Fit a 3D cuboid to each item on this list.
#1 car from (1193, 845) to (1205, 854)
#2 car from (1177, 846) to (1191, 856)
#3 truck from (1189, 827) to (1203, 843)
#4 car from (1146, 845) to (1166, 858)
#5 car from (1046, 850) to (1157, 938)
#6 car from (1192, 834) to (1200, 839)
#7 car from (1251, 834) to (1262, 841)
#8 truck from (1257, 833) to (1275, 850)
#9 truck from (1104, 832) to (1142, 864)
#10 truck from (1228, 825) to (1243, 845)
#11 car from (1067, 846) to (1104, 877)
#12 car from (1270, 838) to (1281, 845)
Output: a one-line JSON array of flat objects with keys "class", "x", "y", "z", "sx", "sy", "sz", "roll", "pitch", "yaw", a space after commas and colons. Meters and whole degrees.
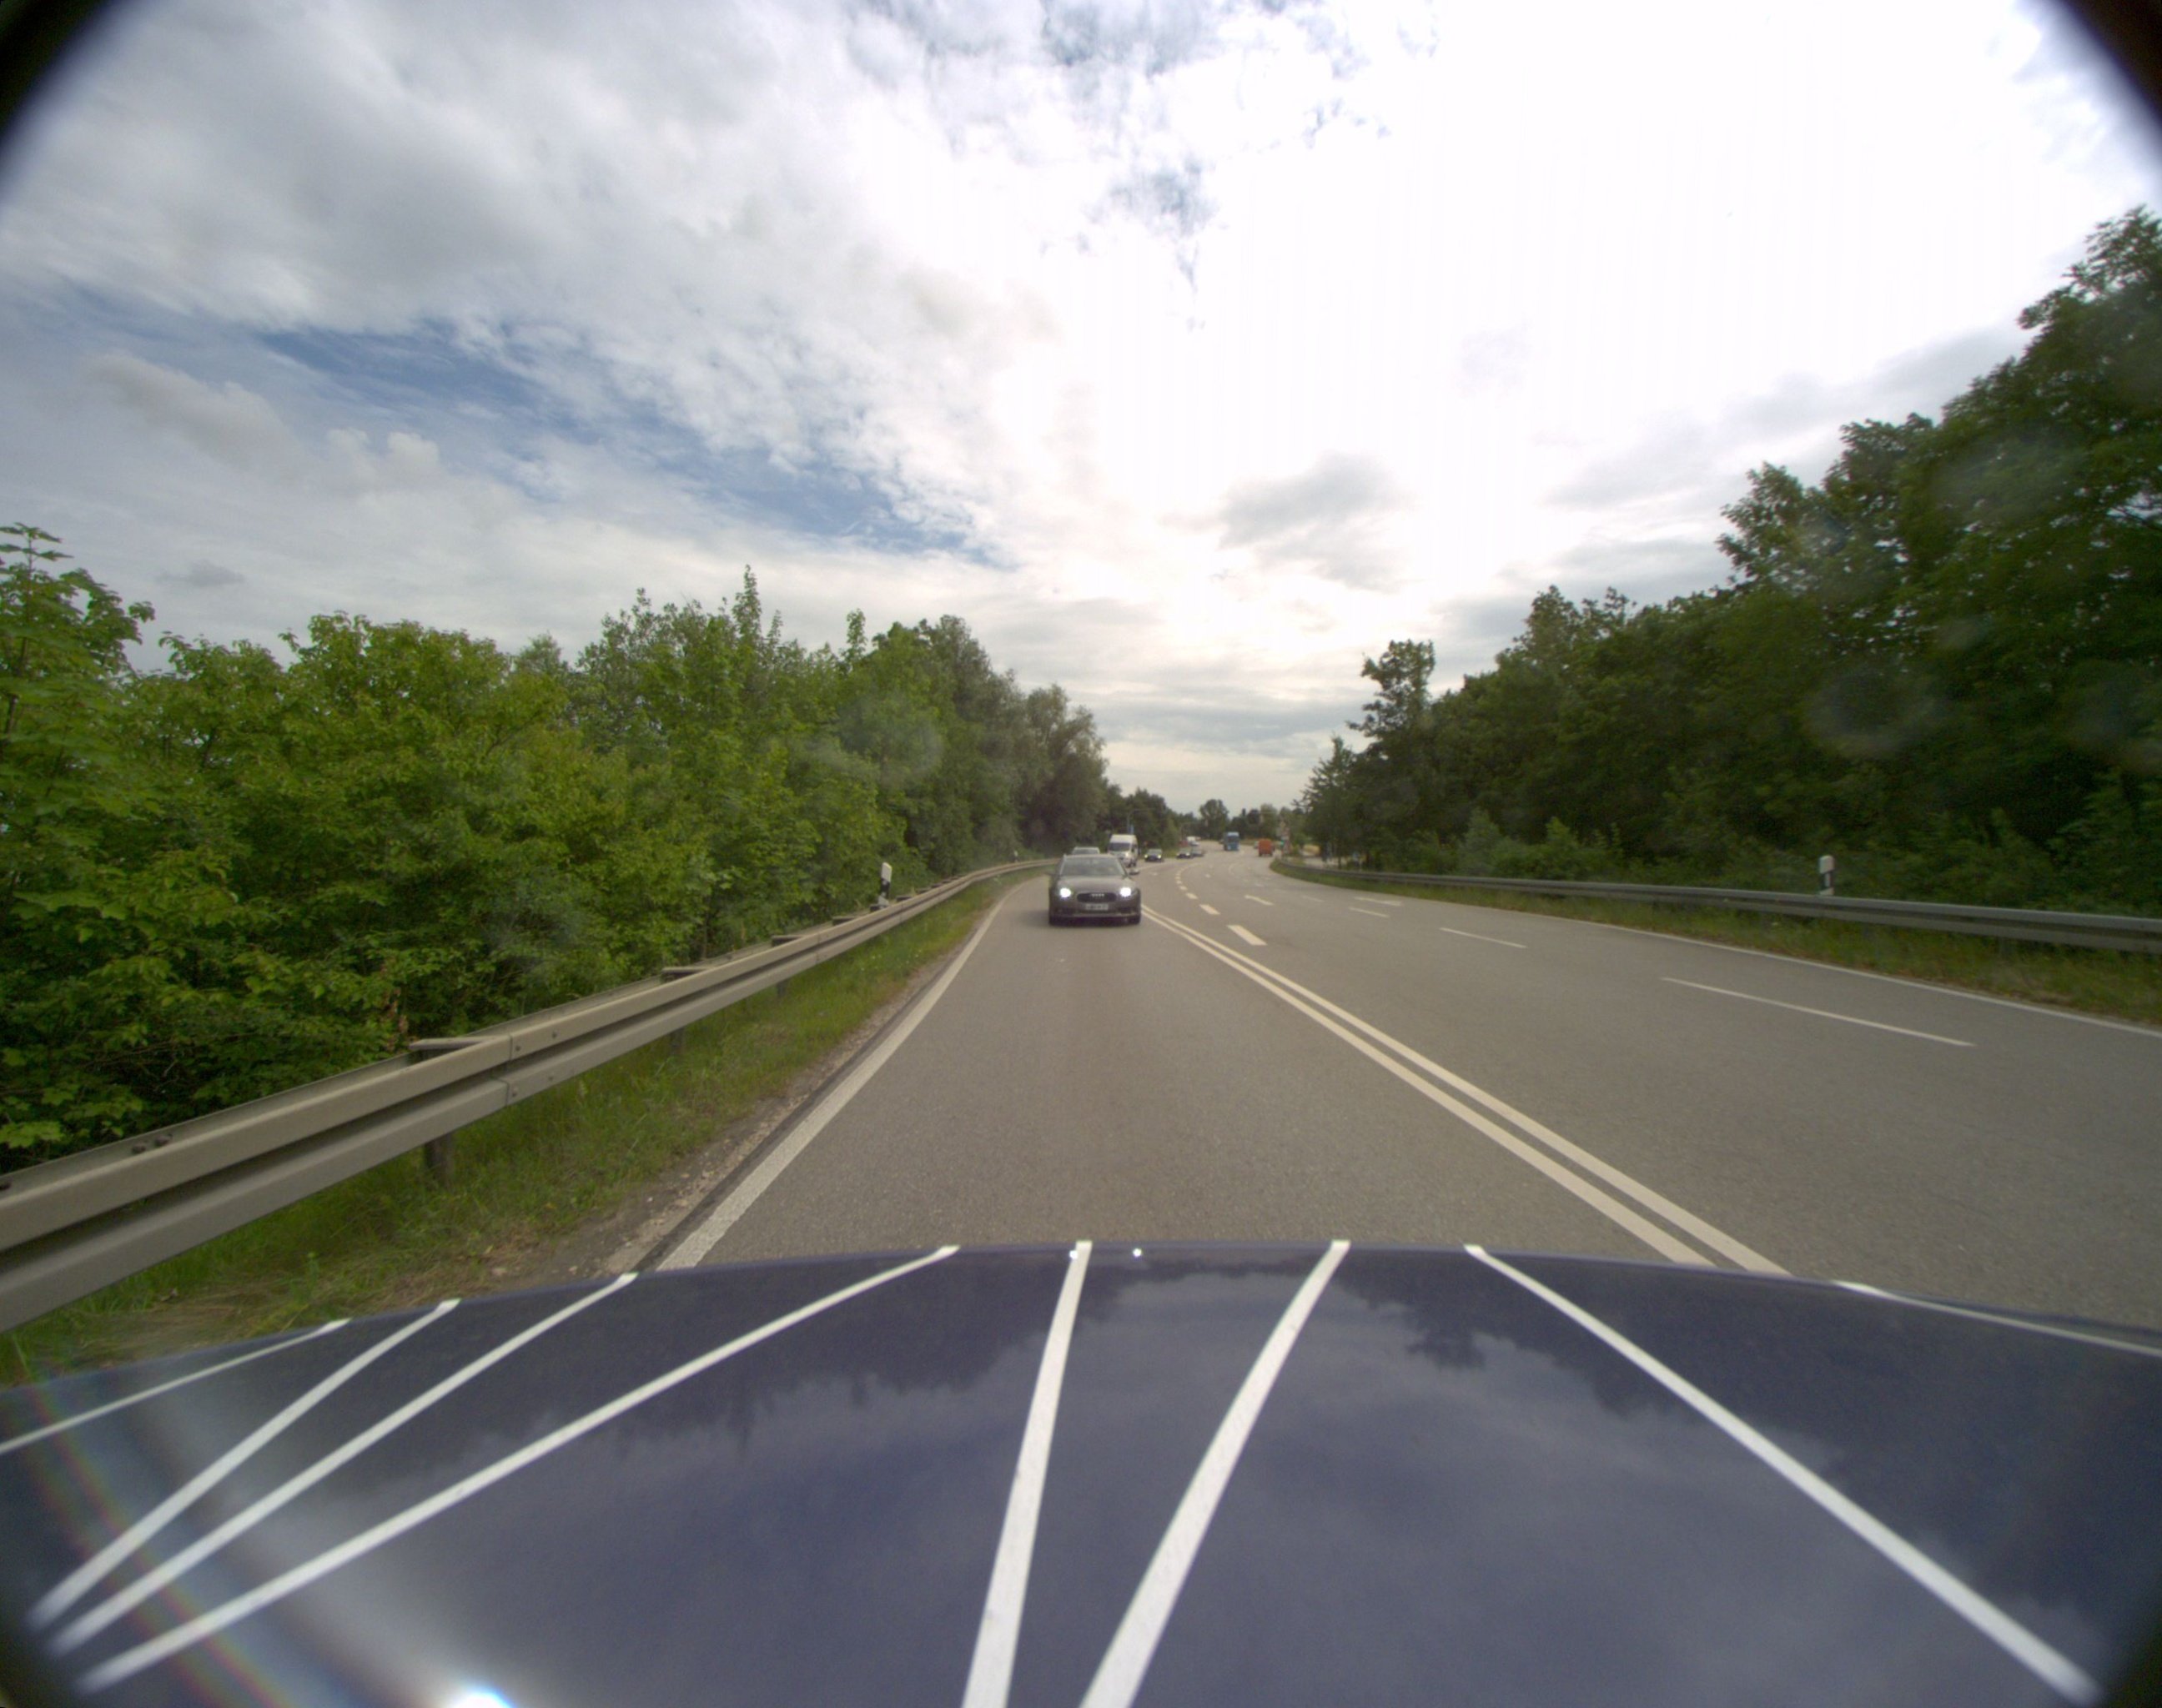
[{"class": "car", "x": 18.838, "y": -0.766, "z": 121.440, "sx": 1.743, "sy": 1.317, "sz": 4.002, "roll": 3, "pitch": 1, "yaw": 9}, {"class": "car", "x": 14.718, "y": -0.444, "z": 108.386, "sx": 1.742, "sy": 1.317, "sz": 4.003, "roll": 3, "pitch": 1, "yaw": 12}, {"class": "truck", "x": 33.006, "y": -5.441, "z": 218.253, "sx": 3.026, "sy": 4.326, "sz": 9.571, "roll": 1, "pitch": 2, "yaw": 4}, {"class": "car", "x": 8.289, "y": -0.245, "z": 83.733, "sx": 1.742, "sy": 1.317, "sz": 4.003, "roll": 3, "pitch": 1, "yaw": 10}, {"class": "car", "x": 0.334, "y": 0.712, "z": 16.118, "sx": 1.965, "sy": 1.447, "sz": 4.795, "roll": -2, "pitch": 1, "yaw": -1}, {"class": "car", "x": 39.012, "y": -6.015, "z": 258.050, "sx": 1.745, "sy": 1.378, "sz": 3.995, "roll": 3, "pitch": 3, "yaw": -7}, {"class": "car", "x": 41.259, "y": -3.802, "z": 178.726, "sx": 1.920, "sy": 1.562, "sz": 3.999, "roll": 1, "pitch": 2, "yaw": 2}, {"class": "truck", "x": 29.061, "y": -1.938, "z": 119.139, "sx": 2.319, "sy": 2.586, "sz": 6.030, "roll": 2, "pitch": 1, "yaw": 16}, {"class": "truck", "x": 3.646, "y": -0.566, "z": 64.281, "sx": 2.377, "sy": 2.579, "sz": 6.002, "roll": 1, "pitch": 2, "yaw": 11}, {"class": "truck", "x": 34.394, "y": -4.215, "z": 169.250, "sx": 3.024, "sy": 4.326, "sz": 9.577, "roll": 1, "pitch": 2, "yaw": 11}, {"class": "car", "x": 0.264, "y": 0.366, "z": 41.030, "sx": 1.826, "sy": 1.489, "sz": 4.223, "roll": 2, "pitch": 1, "yaw": 1}, {"class": "car", "x": 38.858, "y": -2.478, "z": 151.788, "sx": 1.720, "sy": 1.489, "sz": 4.551, "roll": 2, "pitch": 1, "yaw": 11}]
